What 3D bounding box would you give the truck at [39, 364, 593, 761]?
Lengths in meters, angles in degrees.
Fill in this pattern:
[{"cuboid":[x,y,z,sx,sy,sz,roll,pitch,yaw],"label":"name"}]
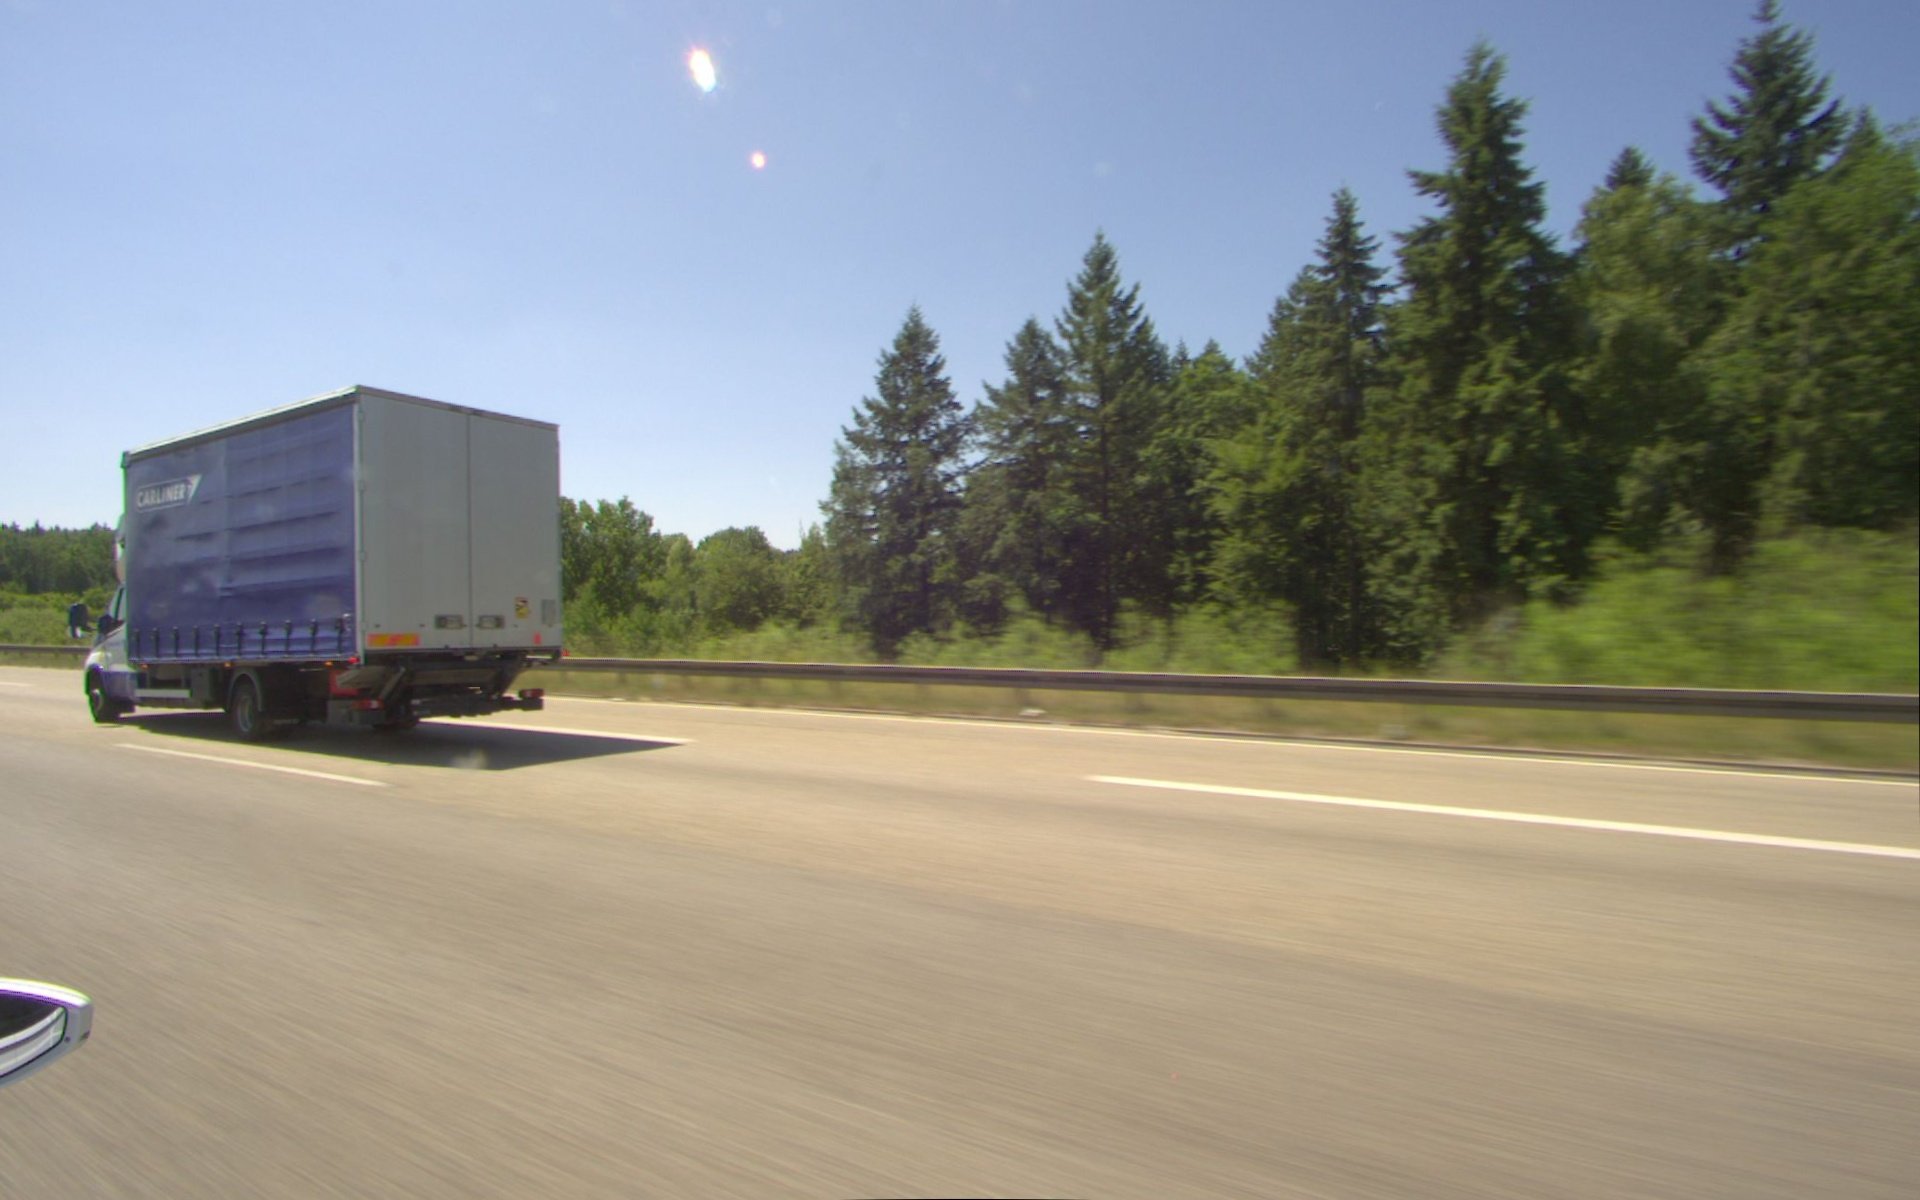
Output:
[{"cuboid":[-9.545,-0.280,14.274,9.599,4.181,2.779,-1,-2,32],"label":"truck"}]
